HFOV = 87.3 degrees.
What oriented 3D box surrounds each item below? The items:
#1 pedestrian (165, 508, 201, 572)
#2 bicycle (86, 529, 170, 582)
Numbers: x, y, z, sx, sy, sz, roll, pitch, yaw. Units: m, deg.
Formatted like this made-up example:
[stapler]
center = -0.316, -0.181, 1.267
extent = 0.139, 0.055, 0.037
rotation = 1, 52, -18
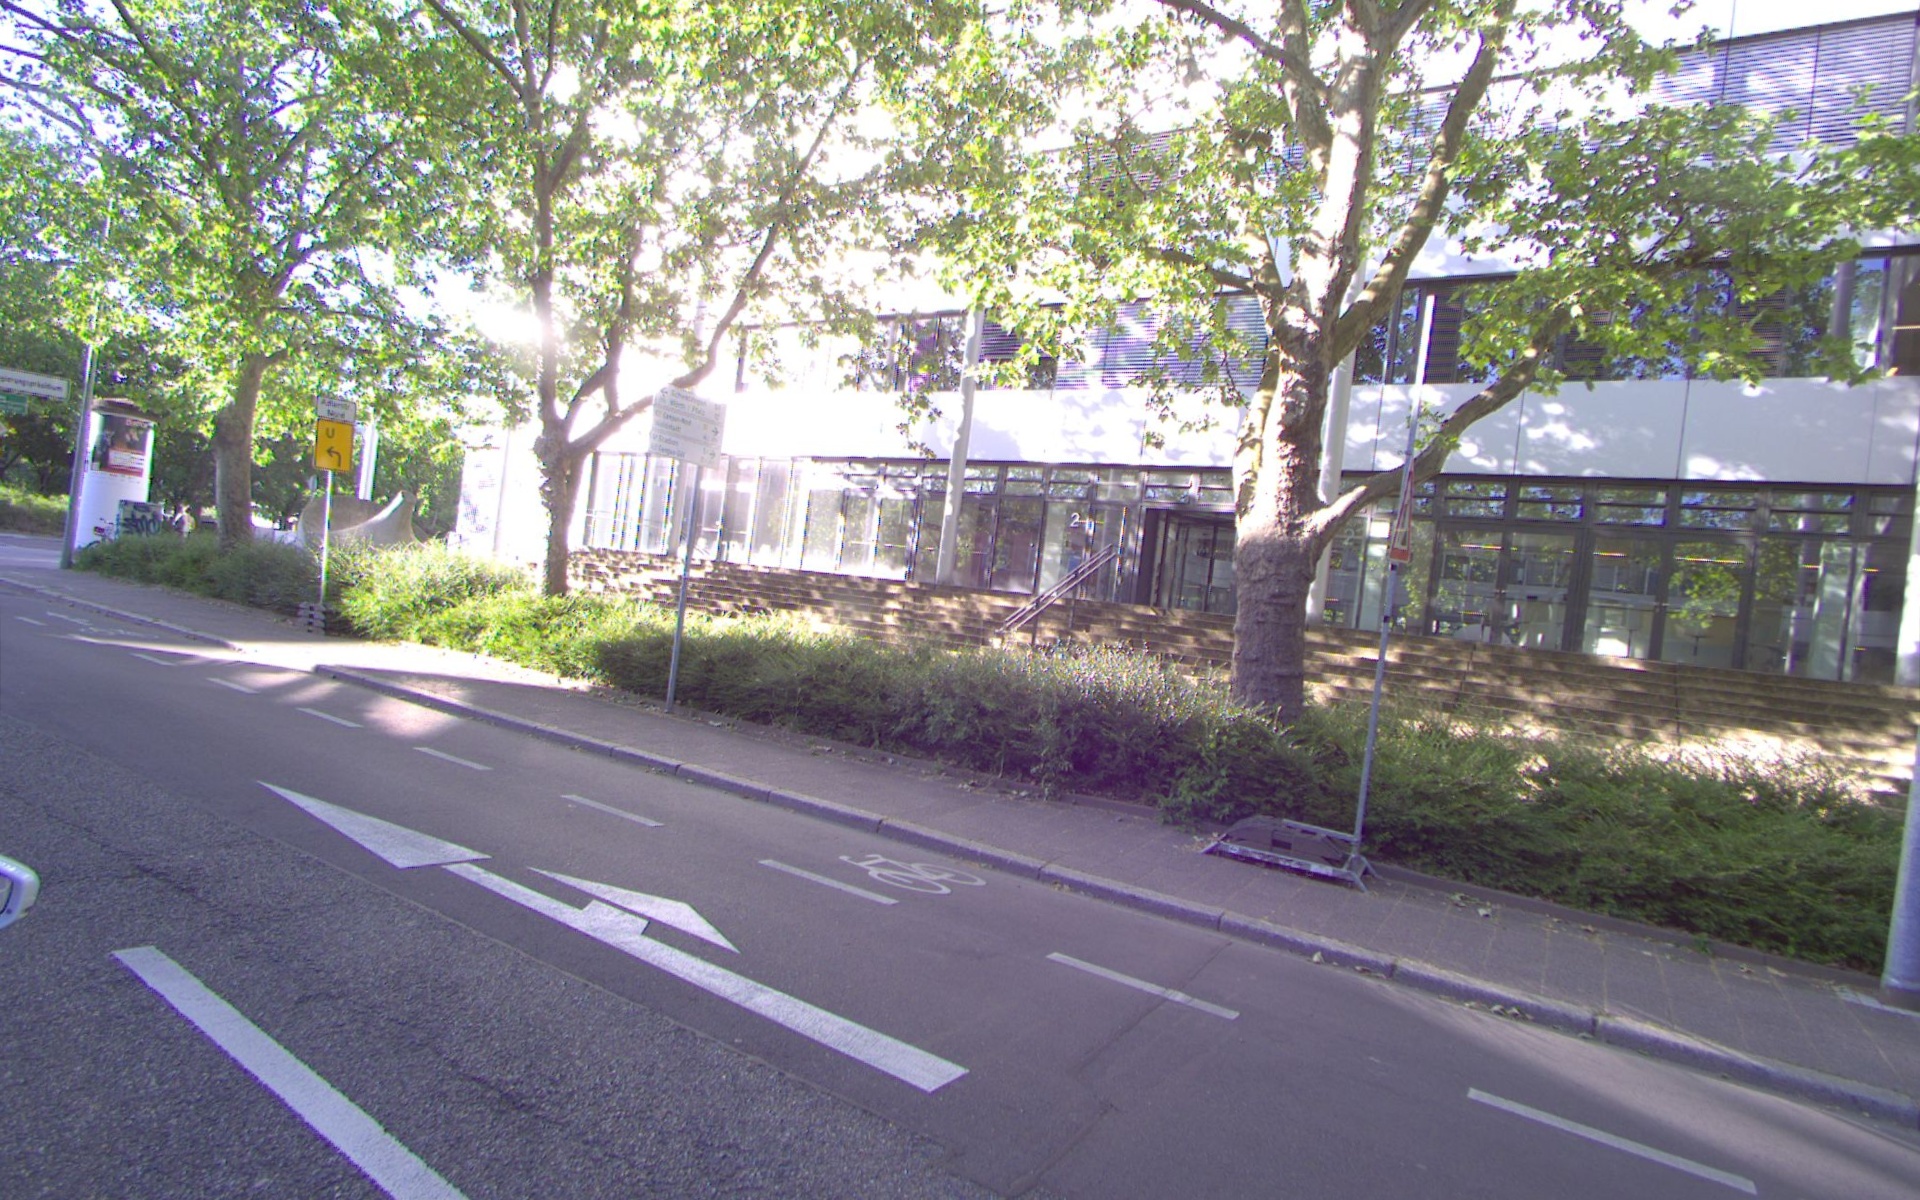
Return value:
[pedestrian]
center = -23.831, -1.834, 30.858
extent = 0.584, 1.871, 0.552
rotation = 7, 0, 33
[bicycle]
center = -19.156, -1.005, 23.185
extent = 0.357, 1.036, 1.354
rotation = 7, -1, 33
